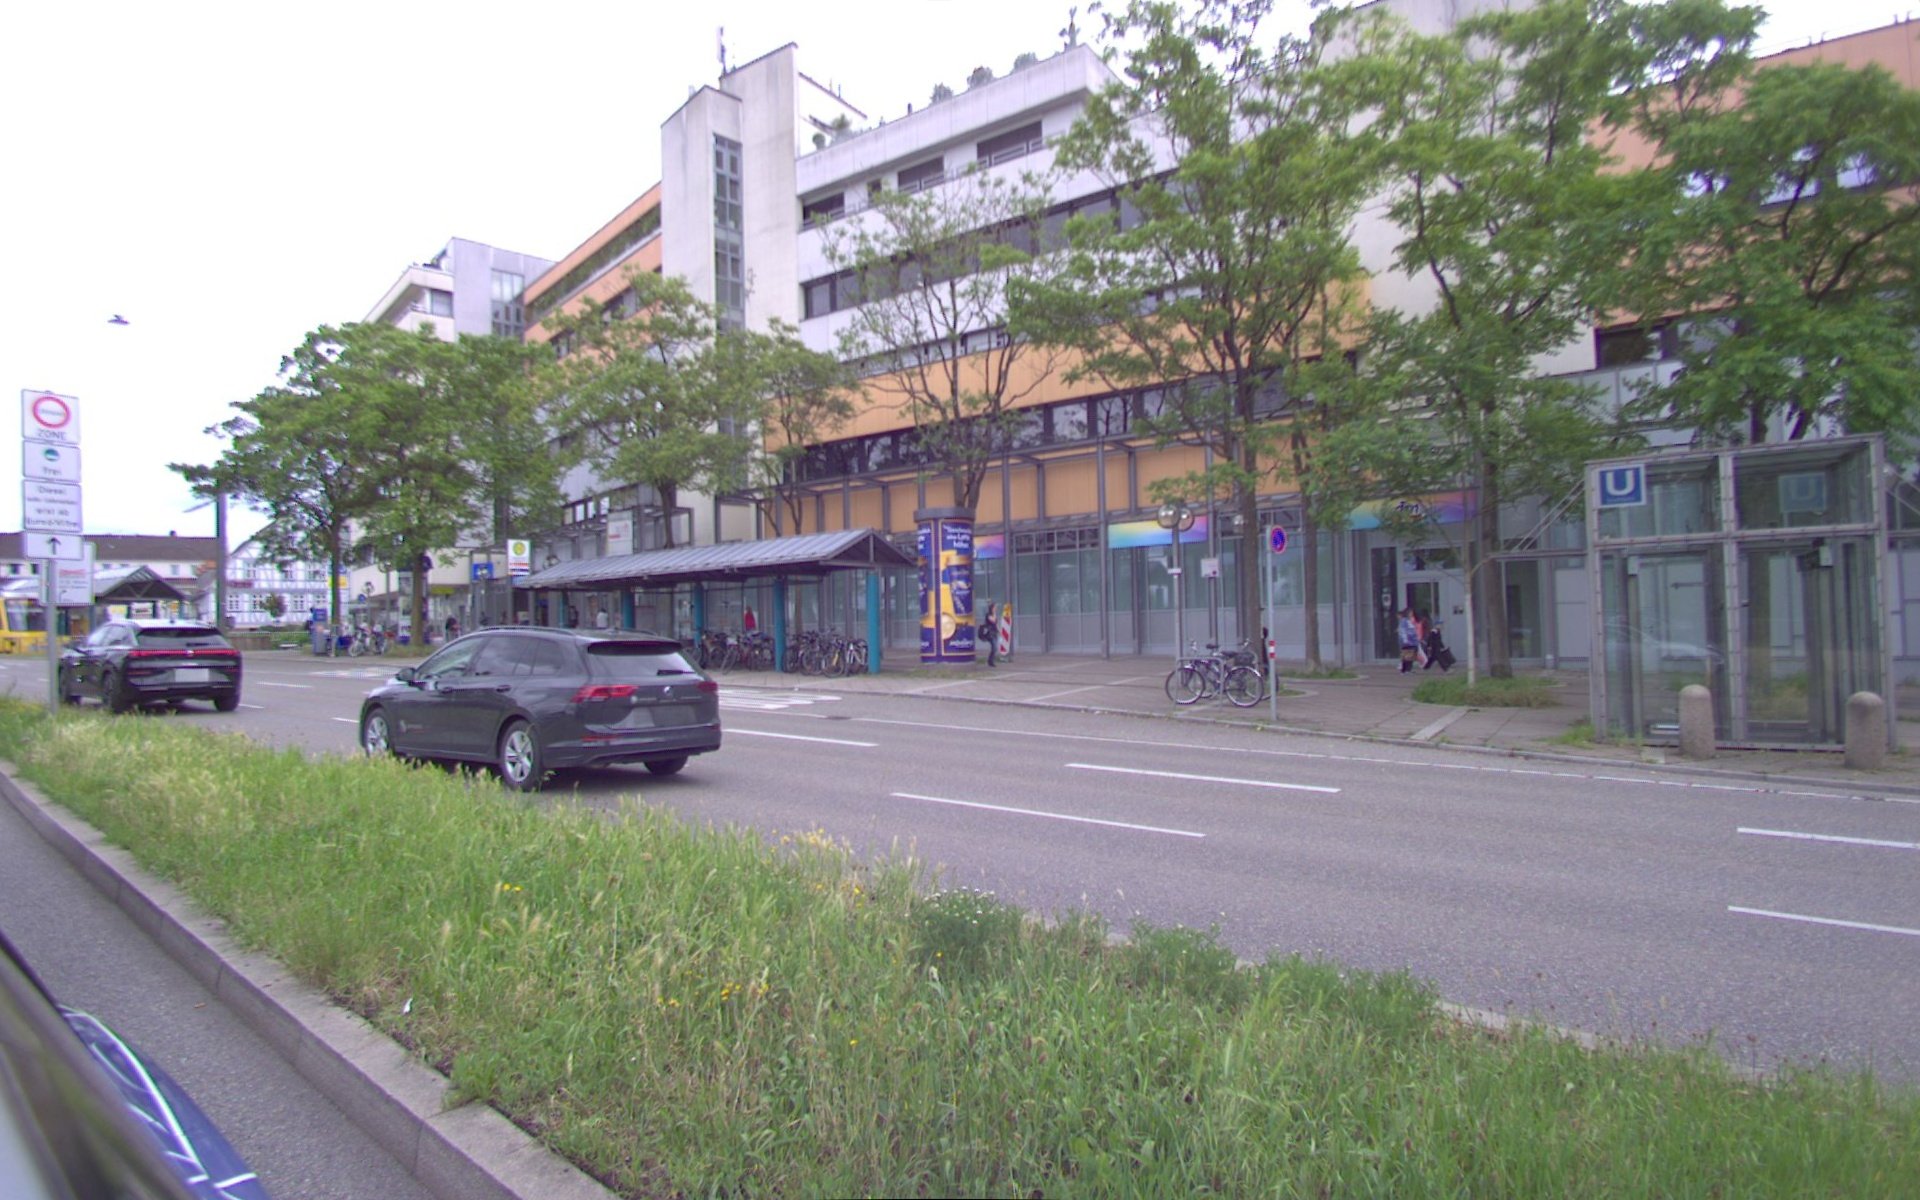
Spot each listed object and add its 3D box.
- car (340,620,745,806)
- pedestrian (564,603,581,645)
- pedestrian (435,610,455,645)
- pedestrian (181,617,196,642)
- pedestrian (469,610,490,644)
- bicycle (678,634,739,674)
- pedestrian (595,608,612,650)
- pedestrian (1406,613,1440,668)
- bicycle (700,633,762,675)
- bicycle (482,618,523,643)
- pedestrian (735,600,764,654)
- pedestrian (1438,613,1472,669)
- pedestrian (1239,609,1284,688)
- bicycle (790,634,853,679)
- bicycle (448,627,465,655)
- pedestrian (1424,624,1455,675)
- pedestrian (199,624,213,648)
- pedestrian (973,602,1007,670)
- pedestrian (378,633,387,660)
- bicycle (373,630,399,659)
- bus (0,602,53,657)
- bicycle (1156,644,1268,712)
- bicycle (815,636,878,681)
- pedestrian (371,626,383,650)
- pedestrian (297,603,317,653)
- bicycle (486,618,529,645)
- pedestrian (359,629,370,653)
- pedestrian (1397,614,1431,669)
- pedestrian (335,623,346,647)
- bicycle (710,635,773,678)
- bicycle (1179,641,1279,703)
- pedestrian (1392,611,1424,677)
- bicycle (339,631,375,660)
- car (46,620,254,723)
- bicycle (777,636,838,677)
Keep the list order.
[{"bbox_3d":[-4.252,0.954,10.062,4.278,1.492,1.695,-1,-2,35],"label":"car"},{"bbox_3d":[-18.763,1.153,49.053,0.558,2.029,0.611,1,-2,-44],"label":"pedestrian"},{"bbox_3d":[-28.076,1.495,55.154,0.752,1.859,0.755,-1,-2,41],"label":"pedestrian"},{"bbox_3d":[-62.516,2.393,81.990,0.867,2.029,1.010,1,-2,-44],"label":"pedestrian"},{"bbox_3d":[-24.620,1.377,51.843,0.752,1.695,0.755,-1,-2,41],"label":"pedestrian"},{"bbox_3d":[-7.238,1.540,29.152,0.549,1.048,1.714,-2,0,38],"label":"bicycle"},{"bbox_3d":[-15.478,1.248,43.910,0.639,1.823,0.761,0,-2,-16],"label":"pedestrian"},{"bbox_3d":[12.025,1.043,26.286,0.694,1.385,0.578,-1,-2,34],"label":"pedestrian"},{"bbox_3d":[-6.460,1.517,28.588,0.549,1.048,1.714,-2,1,38],"label":"bicycle"},{"bbox_3d":[-26.101,1.743,57.770,2.106,1.377,0.621,-1,0,-24],"label":"bicycle"},{"bbox_3d":[-8.152,1.035,39.204,0.791,2.029,0.703,-1,0,30],"label":"pedestrian"},{"bbox_3d":[12.596,1.035,25.730,0.694,1.385,0.578,-1,-2,34],"label":"pedestrian"},{"bbox_3d":[6.558,1.039,22.022,0.721,1.662,0.669,-1,-1,37],"label":"pedestrian"},{"bbox_3d":[-3.619,1.463,26.597,0.549,1.048,1.714,-2,0,38],"label":"bicycle"},{"bbox_3d":[-21.356,1.714,42.933,0.584,1.134,2.044,1,-1,-26],"label":"bicycle"},{"bbox_3d":[11.366,1.168,23.993,0.620,1.190,0.418,-1,-2,31],"label":"pedestrian"},{"bbox_3d":[-50.150,2.404,67.290,0.581,1.554,0.570,-1,-2,32],"label":"pedestrian"},{"bbox_3d":[0.804,0.969,27.471,0.769,1.800,0.525,-1,-2,33],"label":"pedestrian"},{"bbox_3d":[-37.016,2.969,64.853,0.479,1.650,0.439,-1,0,-32],"label":"pedestrian"},{"bbox_3d":[-22.752,1.760,40.113,0.584,1.085,2.044,0,-1,-21],"label":"bicycle"},{"bbox_3d":[-55.987,1.695,58.620,8.470,3.006,2.530,-1,-2,29],"label":"bus"},{"bbox_3d":[4.362,1.328,17.602,0.802,1.068,1.739,0,-1,-40],"label":"bicycle"},{"bbox_3d":[-2.909,1.478,26.064,0.549,1.048,1.714,-2,0,38],"label":"bicycle"},{"bbox_3d":[-37.290,2.414,64.752,0.548,1.506,0.454,1,-2,-41],"label":"pedestrian"},{"bbox_3d":[-30.425,1.292,47.131,0.608,2.325,0.583,-1,-2,39],"label":"pedestrian"},{"bbox_3d":[-24.952,1.732,55.792,2.107,1.385,0.621,-1,0,-31],"label":"bicycle"},{"bbox_3d":[-37.930,2.619,64.471,0.548,1.506,0.454,1,-2,-41],"label":"pedestrian"},{"bbox_3d":[11.546,1.049,25.729,0.694,1.385,0.578,-1,-2,34],"label":"pedestrian"},{"bbox_3d":[-31.430,1.777,51.347,0.368,1.188,0.338,-1,-2,31],"label":"pedestrian"},{"bbox_3d":[-5.965,1.534,27.725,0.549,1.048,1.714,-2,1,38],"label":"bicycle"},{"bbox_3d":[4.979,1.316,18.793,1.737,1.074,0.542,-2,-1,45],"label":"bicycle"},{"bbox_3d":[10.529,1.021,23.784,0.620,1.515,0.563,-1,-2,31],"label":"pedestrian"},{"bbox_3d":[-23.619,1.773,39.655,0.585,1.085,2.042,0,-1,-12],"label":"bicycle"},{"bbox_3d":[-14.013,1.141,17.445,4.065,1.533,1.818,0,-2,37],"label":"car"},{"bbox_3d":[-4.143,1.519,27.564,0.549,1.048,1.714,-2,-1,38],"label":"bicycle"}]
